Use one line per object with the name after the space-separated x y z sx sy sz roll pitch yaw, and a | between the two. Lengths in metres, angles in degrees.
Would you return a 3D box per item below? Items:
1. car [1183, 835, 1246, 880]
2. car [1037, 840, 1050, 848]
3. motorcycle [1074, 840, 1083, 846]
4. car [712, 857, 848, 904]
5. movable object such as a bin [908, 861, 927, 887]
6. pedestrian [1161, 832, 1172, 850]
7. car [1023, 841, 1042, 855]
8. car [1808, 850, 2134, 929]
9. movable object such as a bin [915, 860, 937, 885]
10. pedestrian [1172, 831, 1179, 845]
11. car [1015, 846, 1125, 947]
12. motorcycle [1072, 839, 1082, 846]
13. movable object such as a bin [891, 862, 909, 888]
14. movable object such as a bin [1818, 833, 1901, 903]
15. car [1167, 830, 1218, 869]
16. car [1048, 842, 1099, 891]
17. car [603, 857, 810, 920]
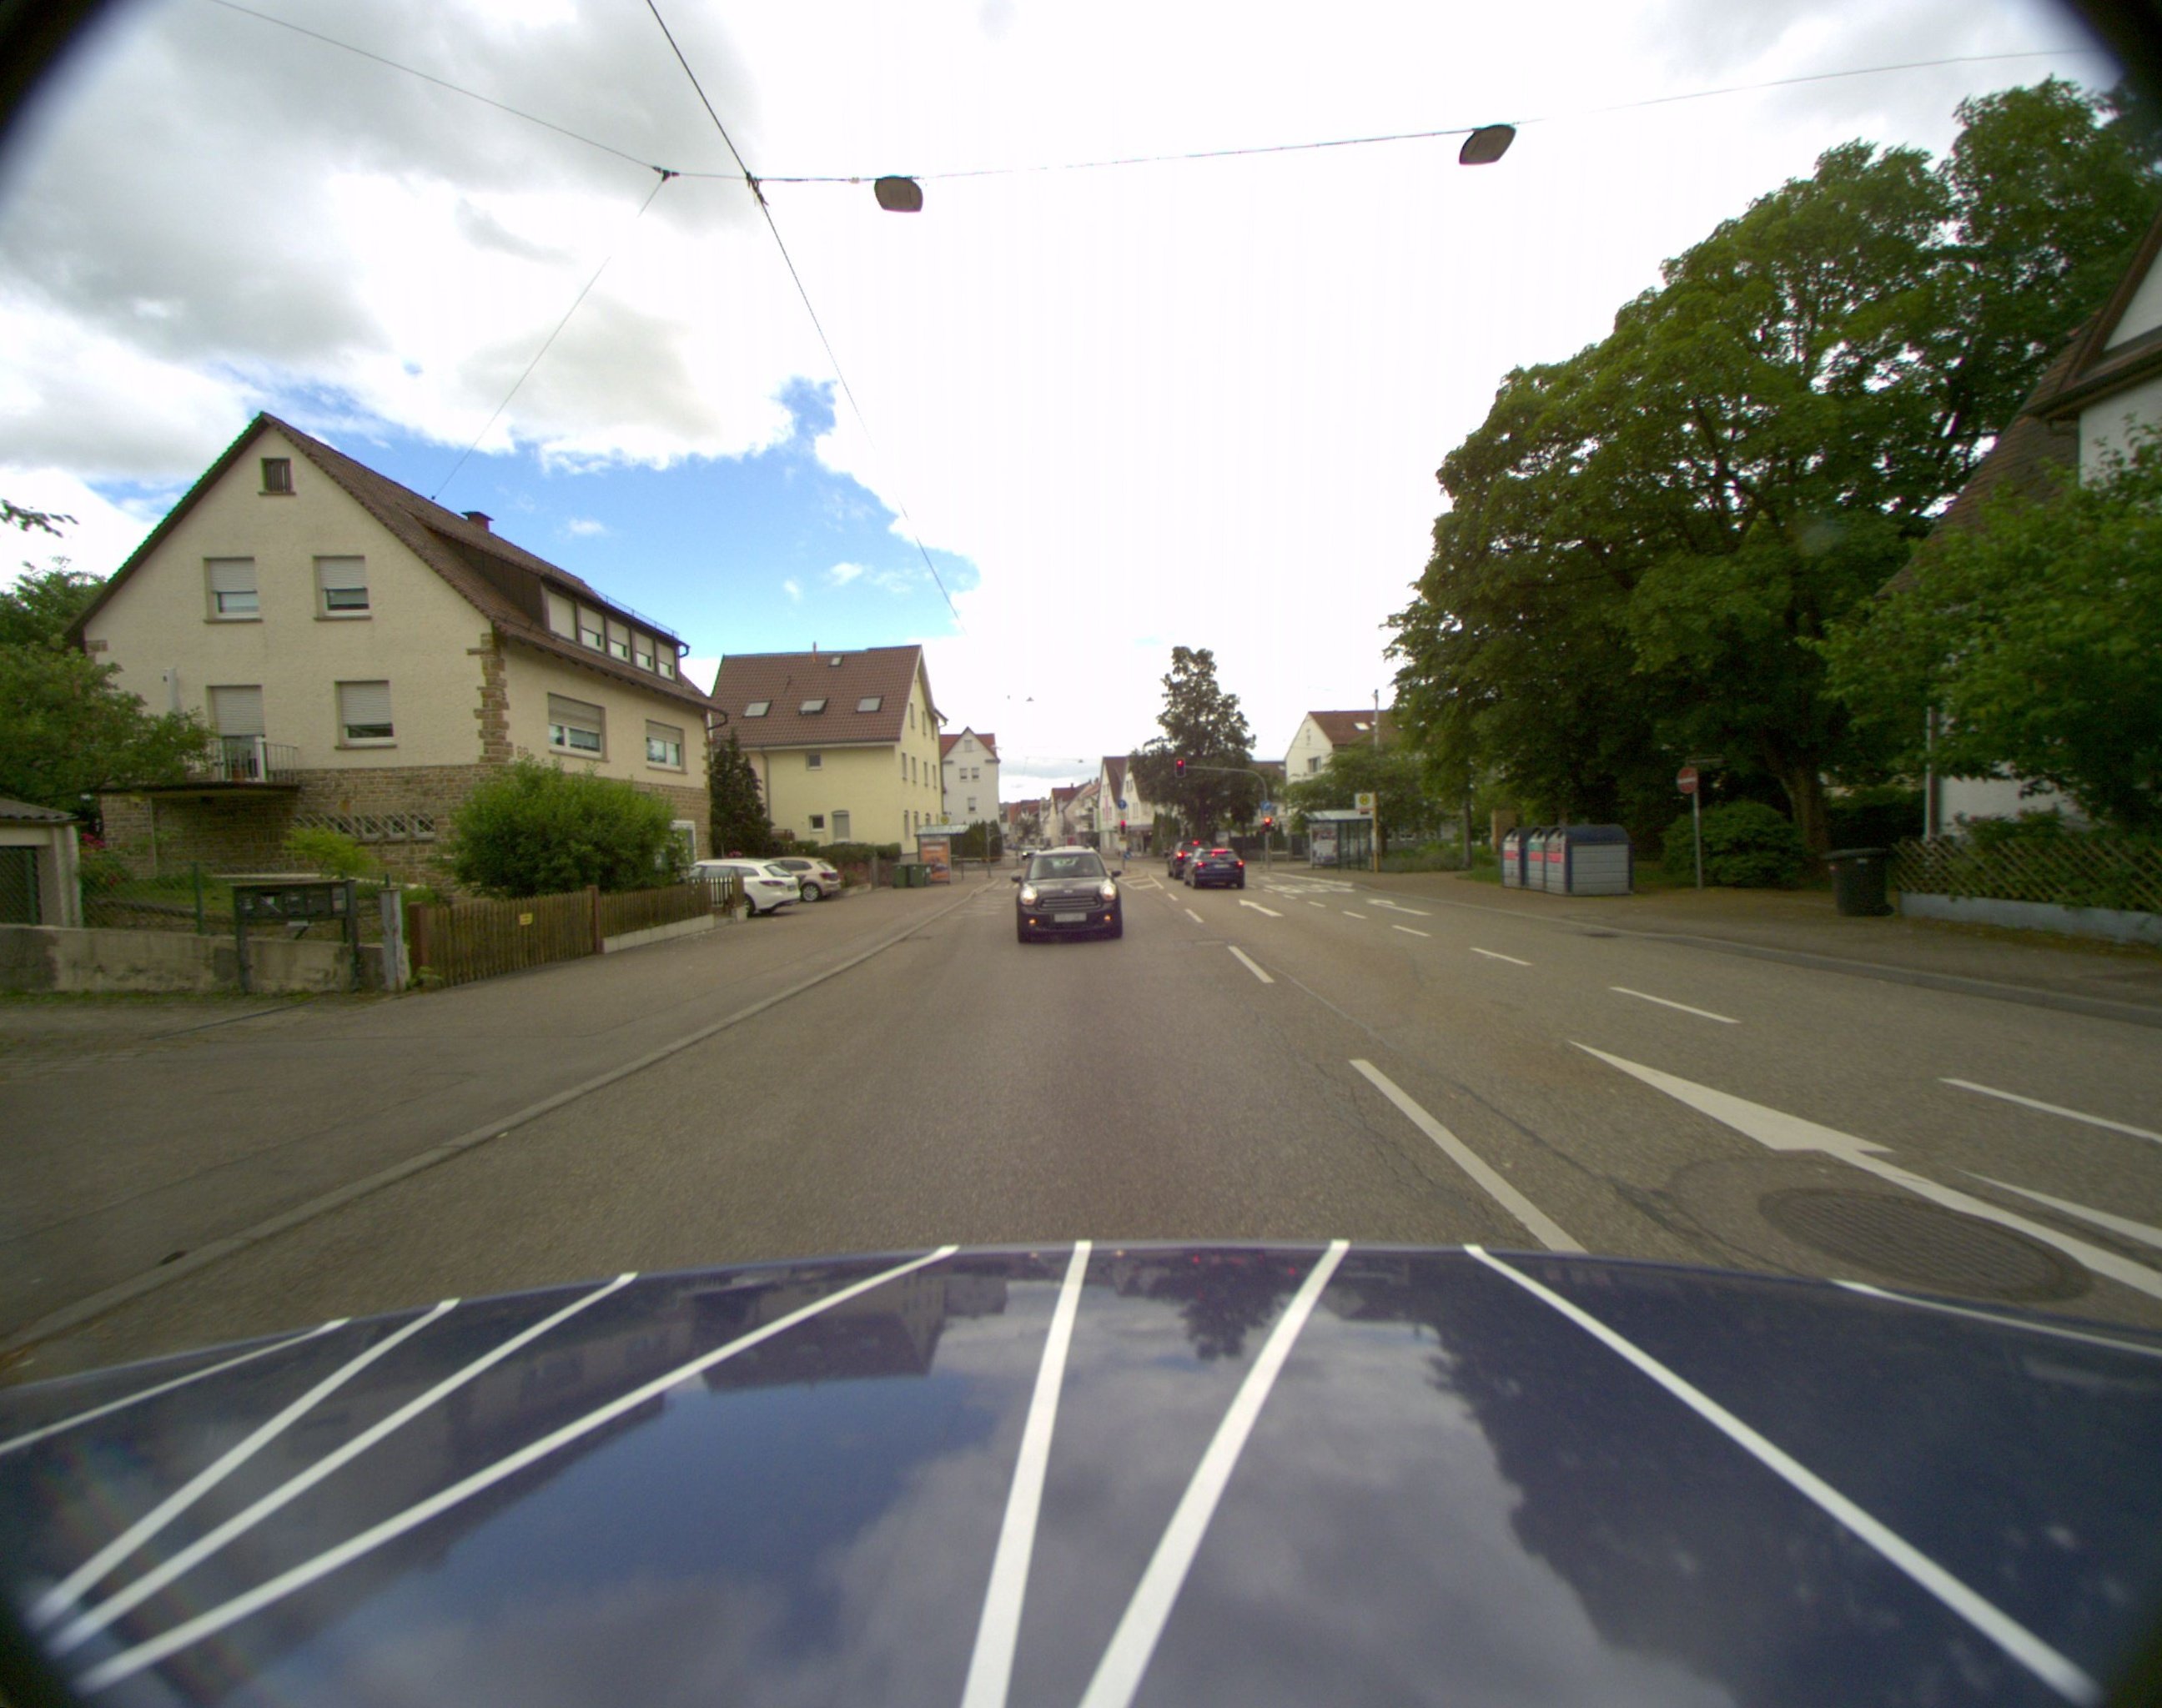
4.724 0.062 27.409 1.568 1.412 4.129 -2 2 1 | car
-7.009 -1.926 141.763 1.635 1.404 3.995 -1 1 -12 | car
-0.395 -1.952 131.743 1.430 1.017 0.524 -4 3 -9 | motorcycle
-9.808 0.842 24.997 3.813 1.394 1.639 -1 2 -3 | car
-6.945 0.835 32.308 0.638 1.041 0.585 -4 3 -6 | movable object such as a bin
7.936 -1.235 70.508 0.642 1.596 0.865 -4 3 -19 | pedestrian
-5.876 -0.731 91.857 1.847 1.511 3.996 -4 2 -9 | car
16.405 0.621 14.171 3.997 1.325 1.721 0 2 0 | car
-6.734 0.797 33.022 0.636 1.041 0.592 -2 3 26 | movable object such as a bin
8.779 -1.491 70.662 0.383 1.255 0.549 -4 3 -19 | pedestrian
-0.230 0.660 14.085 1.694 1.507 3.999 -3 1 -2 | car
-0.676 -2.055 134.159 1.680 1.099 0.558 -4 3 -9 | motorcycle
-7.678 0.872 32.224 0.638 1.041 0.585 -2 2 -6 | movable object such as a bin
12.172 0.217 11.904 0.718 1.013 0.724 -5 -1 34 | movable object such as a bin
5.002 -0.259 34.713 1.762 1.626 4.593 0 2 1 | car
-0.340 0.446 30.954 1.811 1.556 4.614 -3 4 -1 | car
-9.648 0.870 19.818 4.431 1.480 1.864 0 2 1 | car
